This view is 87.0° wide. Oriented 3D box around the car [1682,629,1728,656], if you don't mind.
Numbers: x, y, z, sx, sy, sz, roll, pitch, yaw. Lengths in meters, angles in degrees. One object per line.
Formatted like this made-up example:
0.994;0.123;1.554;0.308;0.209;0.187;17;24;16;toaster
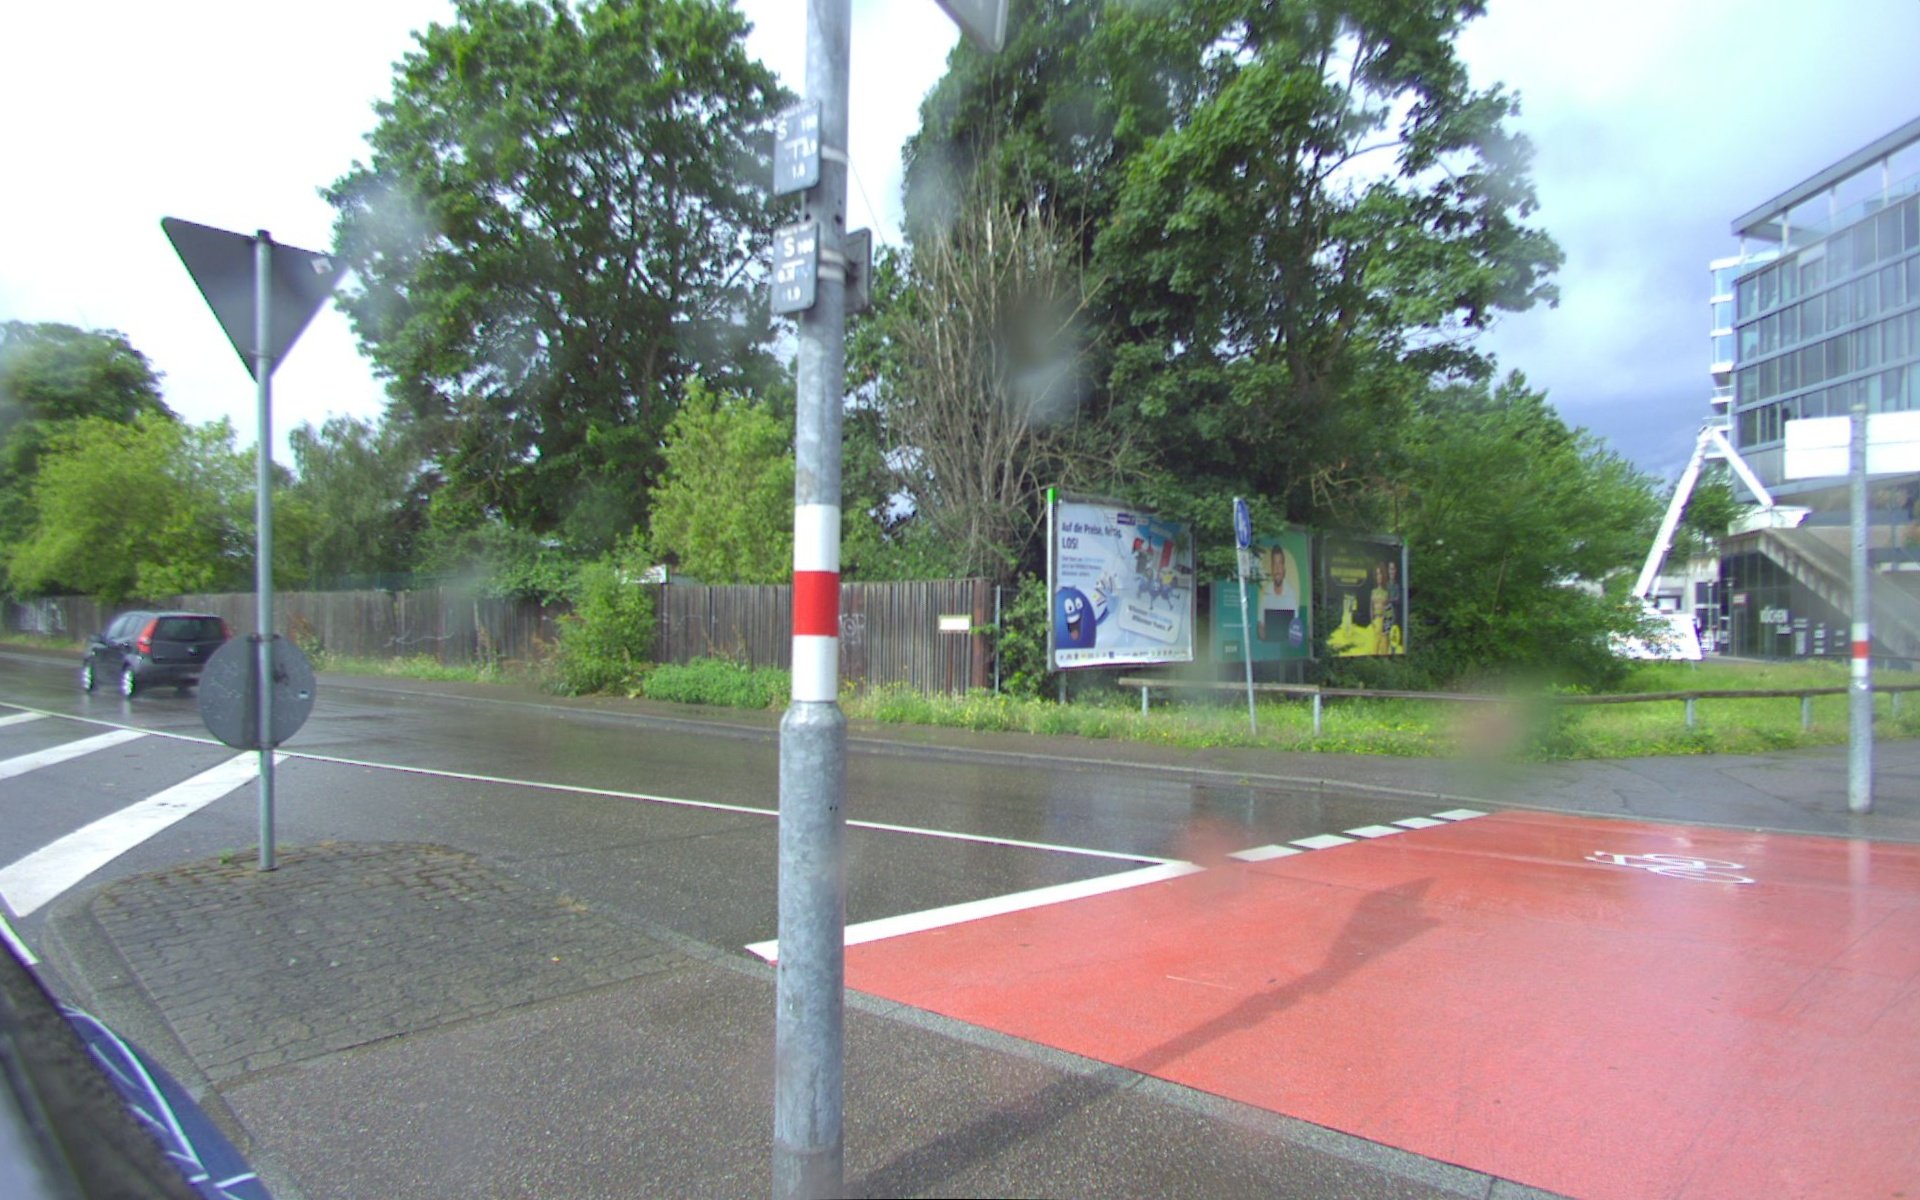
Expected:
48.152;2.755;65.456;1.859;1.685;4.425;-1;-3;30;car

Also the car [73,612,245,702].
-15.101;1.047;19.045;3.450;1.545;1.613;-2;-3;36;car
